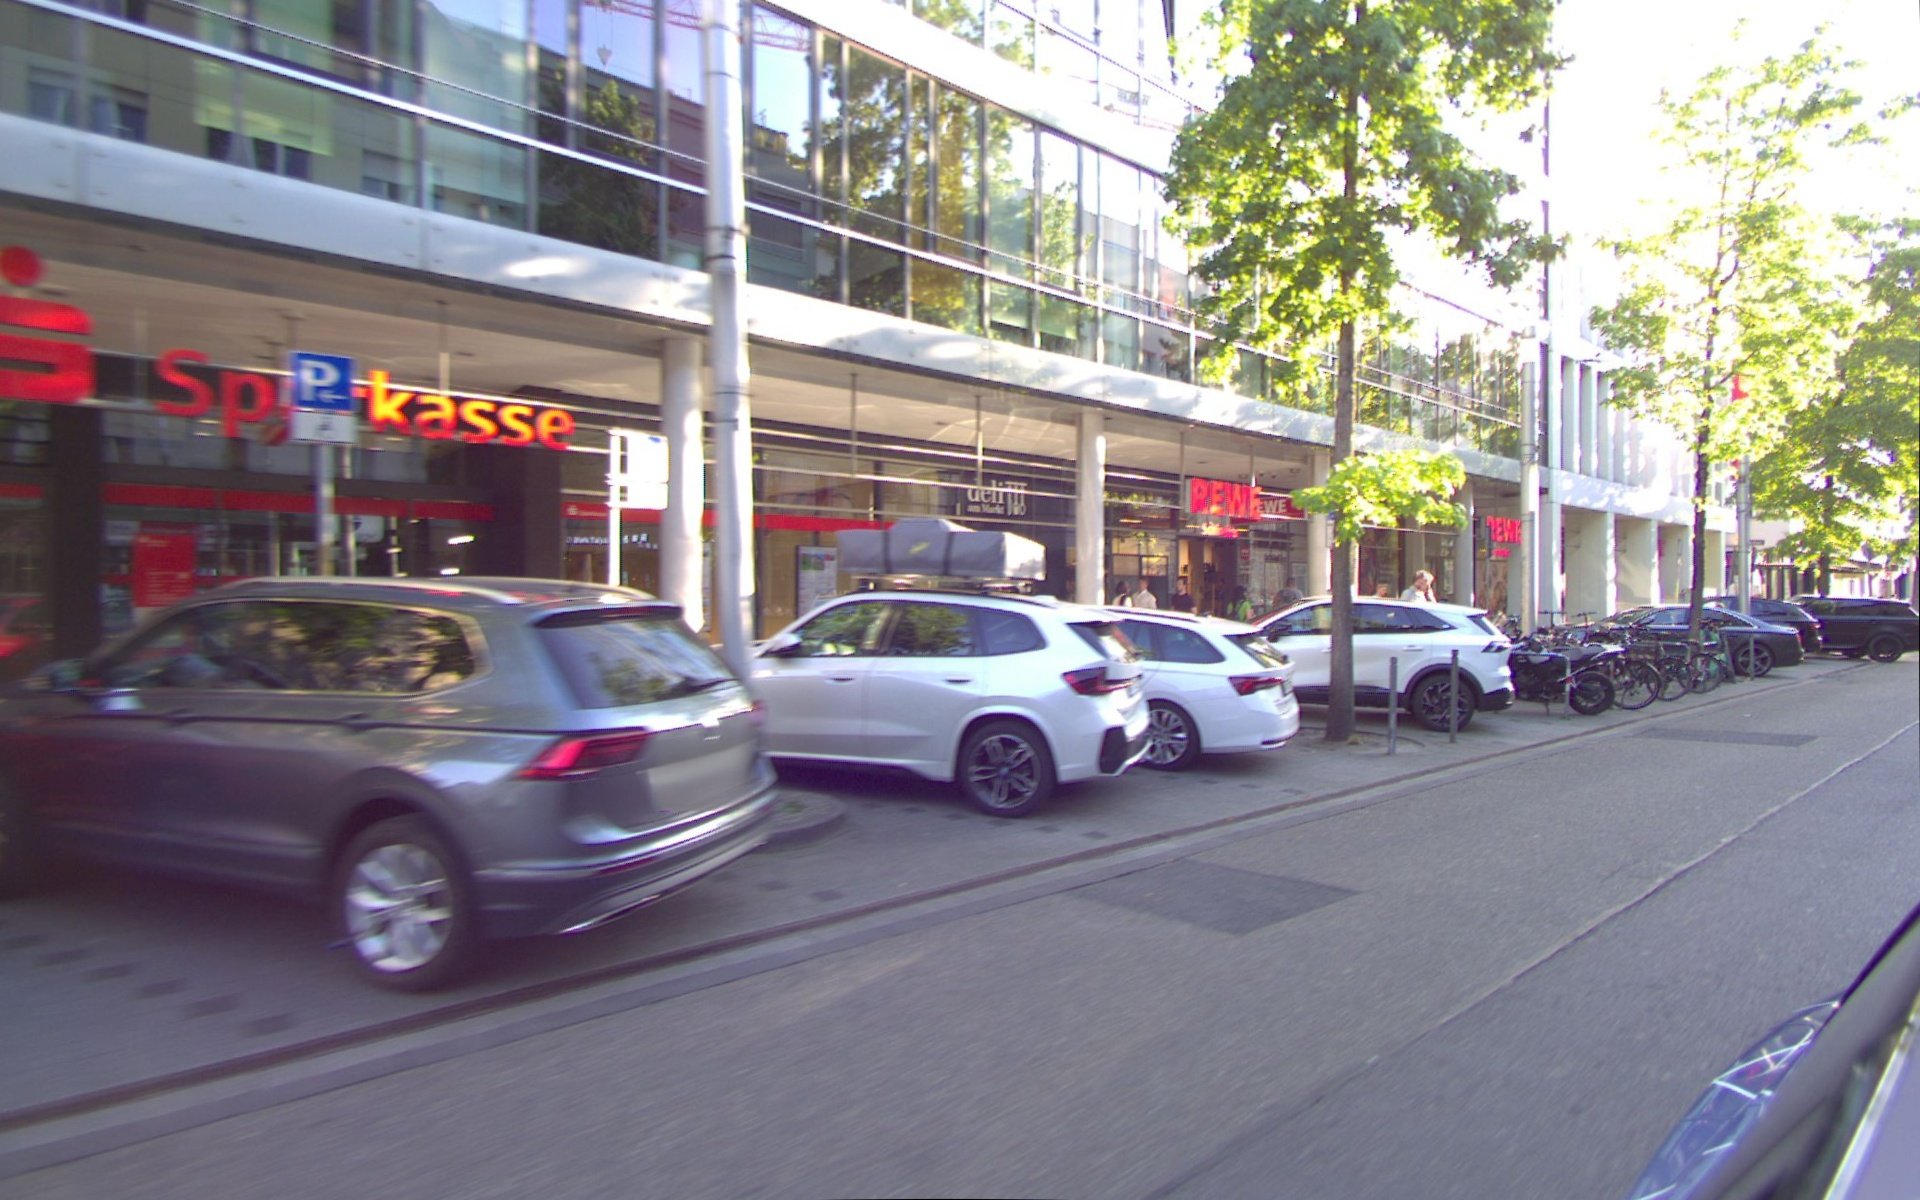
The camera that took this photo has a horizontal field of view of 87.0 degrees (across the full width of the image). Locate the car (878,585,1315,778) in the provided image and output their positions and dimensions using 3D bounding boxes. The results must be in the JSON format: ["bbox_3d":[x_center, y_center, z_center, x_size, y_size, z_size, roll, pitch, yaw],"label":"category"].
[{"bbox_3d":[1.362,0.678,10.391,4.119,1.517,1.674,3,2,27],"label":"car"}]

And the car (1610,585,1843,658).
[{"bbox_3d":[20.448,0.507,27.296,4.621,1.675,1.990,3,2,27],"label":"car"}]

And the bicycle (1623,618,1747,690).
[{"bbox_3d":[12.711,0.929,17.804,1.544,1.102,0.864,3,1,20],"label":"bicycle"}]

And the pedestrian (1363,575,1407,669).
[{"bbox_3d":[8.229,0.404,19.598,0.549,1.772,0.524,0,2,-38],"label":"pedestrian"}]

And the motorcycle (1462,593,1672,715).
[{"bbox_3d":[8.340,0.711,14.003,2.279,1.528,0.858,2,2,7],"label":"motorcycle"}]

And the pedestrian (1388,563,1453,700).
[{"bbox_3d":[6.746,0.445,14.828,0.651,1.942,0.584,0,2,-38],"label":"pedestrian"}]

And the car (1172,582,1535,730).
[{"bbox_3d":[4.966,0.625,13.280,4.104,1.590,1.844,2,2,17],"label":"car"}]

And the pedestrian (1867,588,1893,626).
[{"bbox_3d":[47.273,0.370,51.988,0.901,1.921,0.836,0,1,-38],"label":"pedestrian"}]

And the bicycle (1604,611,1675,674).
[{"bbox_3d":[13.696,0.826,20.454,0.544,1.121,1.842,2,2,14],"label":"bicycle"}]

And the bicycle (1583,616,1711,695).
[{"bbox_3d":[11.069,0.884,16.324,1.662,1.177,0.481,2,2,0],"label":"bicycle"}]

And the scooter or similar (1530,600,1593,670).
[{"bbox_3d":[12.420,0.688,20.933,0.554,1.309,1.675,2,2,12],"label":"scooter or similar"}]

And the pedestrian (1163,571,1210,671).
[{"bbox_3d":[4.122,0.363,18.391,0.623,1.765,0.592,1,1,37],"label":"pedestrian"}]

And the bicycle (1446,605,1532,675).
[{"bbox_3d":[9.927,0.731,19.026,1.254,1.187,0.862,3,1,19],"label":"bicycle"}]

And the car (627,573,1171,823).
[{"bbox_3d":[-0.468,0.632,8.558,4.195,1.607,1.873,2,2,19],"label":"car"}]

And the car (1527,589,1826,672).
[{"bbox_3d":[15.808,0.615,22.652,4.988,1.487,1.969,3,2,15],"label":"car"}]

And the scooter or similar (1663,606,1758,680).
[{"bbox_3d":[14.474,0.812,19.547,1.290,1.291,0.561,3,3,19],"label":"scooter or similar"}]

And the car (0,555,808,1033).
[{"bbox_3d":[-3.108,0.660,5.232,4.301,1.672,1.684,2,2,19],"label":"car"}]

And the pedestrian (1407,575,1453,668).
[{"bbox_3d":[8.936,0.396,19.239,0.677,1.718,0.543,0,-1,38],"label":"pedestrian"}]

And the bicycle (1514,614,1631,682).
[{"bbox_3d":[11.104,0.850,18.411,1.654,1.088,0.728,3,1,20],"label":"bicycle"}]

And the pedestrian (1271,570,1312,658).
[{"bbox_3d":[6.868,0.284,20.978,0.515,1.772,0.558,0,2,-40],"label":"pedestrian"}]

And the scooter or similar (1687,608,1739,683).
[{"bbox_3d":[13.938,0.826,18.720,1.284,1.291,0.451,0,4,-42],"label":"scooter or similar"}]

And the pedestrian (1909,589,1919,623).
[{"bbox_3d":[53.187,0.319,56.183,0.623,1.854,0.706,0,0,-41],"label":"pedestrian"}]

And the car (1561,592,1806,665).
[{"bbox_3d":[17.491,0.630,24.800,4.627,1.443,1.914,2,2,29],"label":"car"}]

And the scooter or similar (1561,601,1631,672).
[{"bbox_3d":[13.005,0.719,20.744,0.622,1.309,1.675,2,2,12],"label":"scooter or similar"}]

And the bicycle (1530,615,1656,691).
[{"bbox_3d":[10.714,0.875,17.192,1.677,1.119,0.627,3,3,24],"label":"bicycle"}]

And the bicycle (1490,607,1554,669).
[{"bbox_3d":[11.655,0.759,21.030,0.617,1.144,1.882,2,2,13],"label":"bicycle"}]

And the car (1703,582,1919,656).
[{"bbox_3d":[24.026,0.474,28.451,4.611,1.785,1.981,3,2,21],"label":"car"}]

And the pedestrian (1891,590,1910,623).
[{"bbox_3d":[52.720,0.350,56.724,0.623,1.854,0.689,0,0,-41],"label":"pedestrian"}]

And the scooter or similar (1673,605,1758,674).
[{"bbox_3d":[15.024,0.786,20.145,1.281,1.291,0.459,2,3,-3],"label":"scooter or similar"}]

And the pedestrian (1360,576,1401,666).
[{"bbox_3d":[8.145,0.401,19.614,0.540,1.718,0.518,0,-1,-36],"label":"pedestrian"}]

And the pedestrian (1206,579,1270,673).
[{"bbox_3d":[4.991,0.446,18.198,0.866,1.644,0.716,0,1,-39],"label":"pedestrian"}]

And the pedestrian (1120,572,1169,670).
[{"bbox_3d":[3.399,0.368,18.664,0.589,1.765,0.625,0,1,-42],"label":"pedestrian"}]

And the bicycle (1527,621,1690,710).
[{"bbox_3d":[9.522,0.933,14.943,1.874,1.133,0.663,2,2,22],"label":"bicycle"}]
